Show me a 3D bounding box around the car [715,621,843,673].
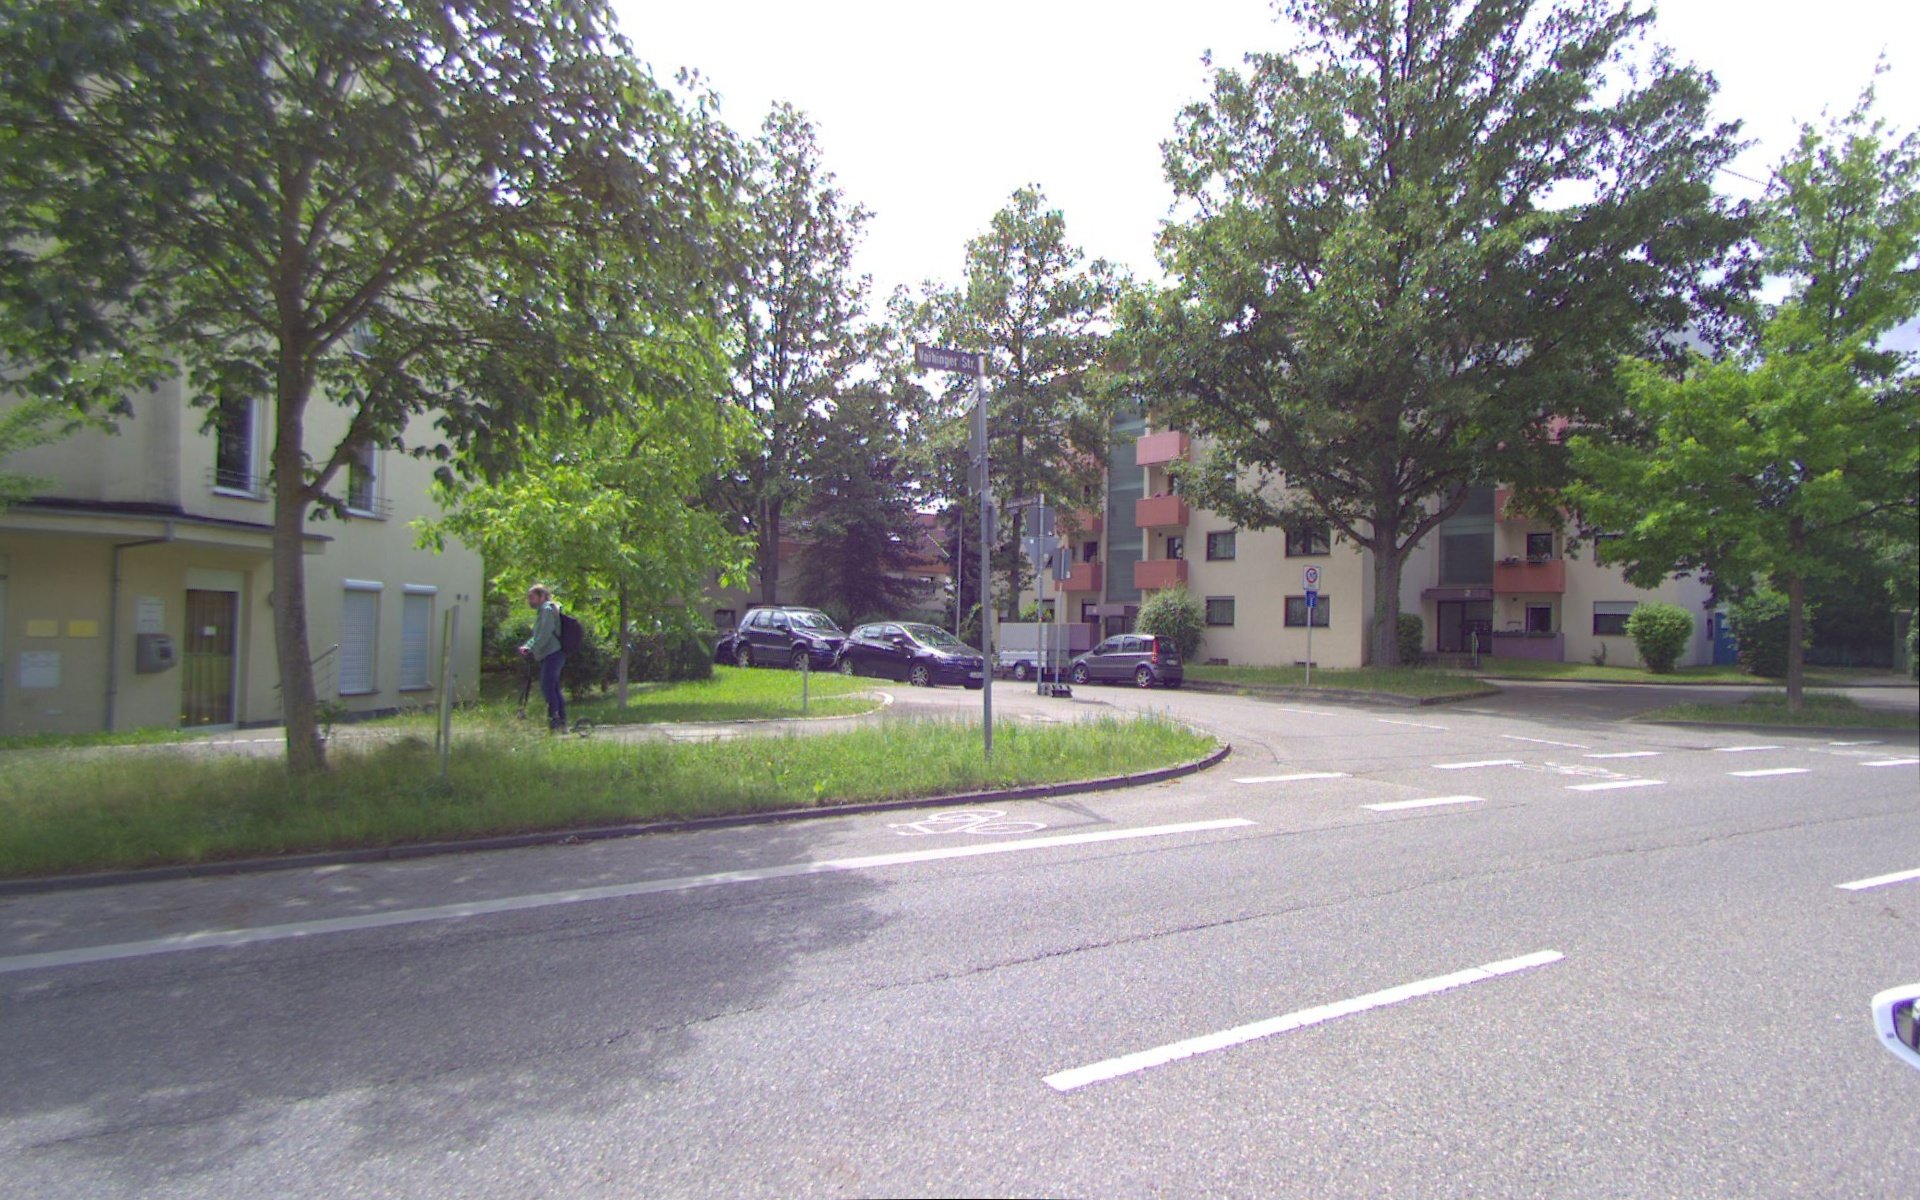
[{"bbox_3d":[-6.832,1.749,37.943,4.336,1.817,2.124,0,-1,27],"label":"car"}]

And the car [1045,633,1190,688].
[{"bbox_3d":[4.604,1.763,29.601,3.943,1.471,1.687,-1,-4,43],"label":"car"}]

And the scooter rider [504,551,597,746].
[{"bbox_3d":[-4.483,0.514,10.987,0.785,2.040,0.673,2,1,-31],"label":"scooter rider"}]

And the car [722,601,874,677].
[{"bbox_3d":[-4.379,0.975,26.641,1.858,1.675,4.377,2,1,-42],"label":"car"}]

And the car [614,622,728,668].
[{"bbox_3d":[-11.688,1.782,40.599,4.196,1.725,1.941,0,-1,27],"label":"car"}]

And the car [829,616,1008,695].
[{"bbox_3d":[-1.013,1.181,22.586,1.725,1.417,4.099,2,1,-43],"label":"car"}]

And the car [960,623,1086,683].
[{"bbox_3d":[2.009,1.754,32.980,1.833,1.868,3.950,2,-4,-43],"label":"car"}]
